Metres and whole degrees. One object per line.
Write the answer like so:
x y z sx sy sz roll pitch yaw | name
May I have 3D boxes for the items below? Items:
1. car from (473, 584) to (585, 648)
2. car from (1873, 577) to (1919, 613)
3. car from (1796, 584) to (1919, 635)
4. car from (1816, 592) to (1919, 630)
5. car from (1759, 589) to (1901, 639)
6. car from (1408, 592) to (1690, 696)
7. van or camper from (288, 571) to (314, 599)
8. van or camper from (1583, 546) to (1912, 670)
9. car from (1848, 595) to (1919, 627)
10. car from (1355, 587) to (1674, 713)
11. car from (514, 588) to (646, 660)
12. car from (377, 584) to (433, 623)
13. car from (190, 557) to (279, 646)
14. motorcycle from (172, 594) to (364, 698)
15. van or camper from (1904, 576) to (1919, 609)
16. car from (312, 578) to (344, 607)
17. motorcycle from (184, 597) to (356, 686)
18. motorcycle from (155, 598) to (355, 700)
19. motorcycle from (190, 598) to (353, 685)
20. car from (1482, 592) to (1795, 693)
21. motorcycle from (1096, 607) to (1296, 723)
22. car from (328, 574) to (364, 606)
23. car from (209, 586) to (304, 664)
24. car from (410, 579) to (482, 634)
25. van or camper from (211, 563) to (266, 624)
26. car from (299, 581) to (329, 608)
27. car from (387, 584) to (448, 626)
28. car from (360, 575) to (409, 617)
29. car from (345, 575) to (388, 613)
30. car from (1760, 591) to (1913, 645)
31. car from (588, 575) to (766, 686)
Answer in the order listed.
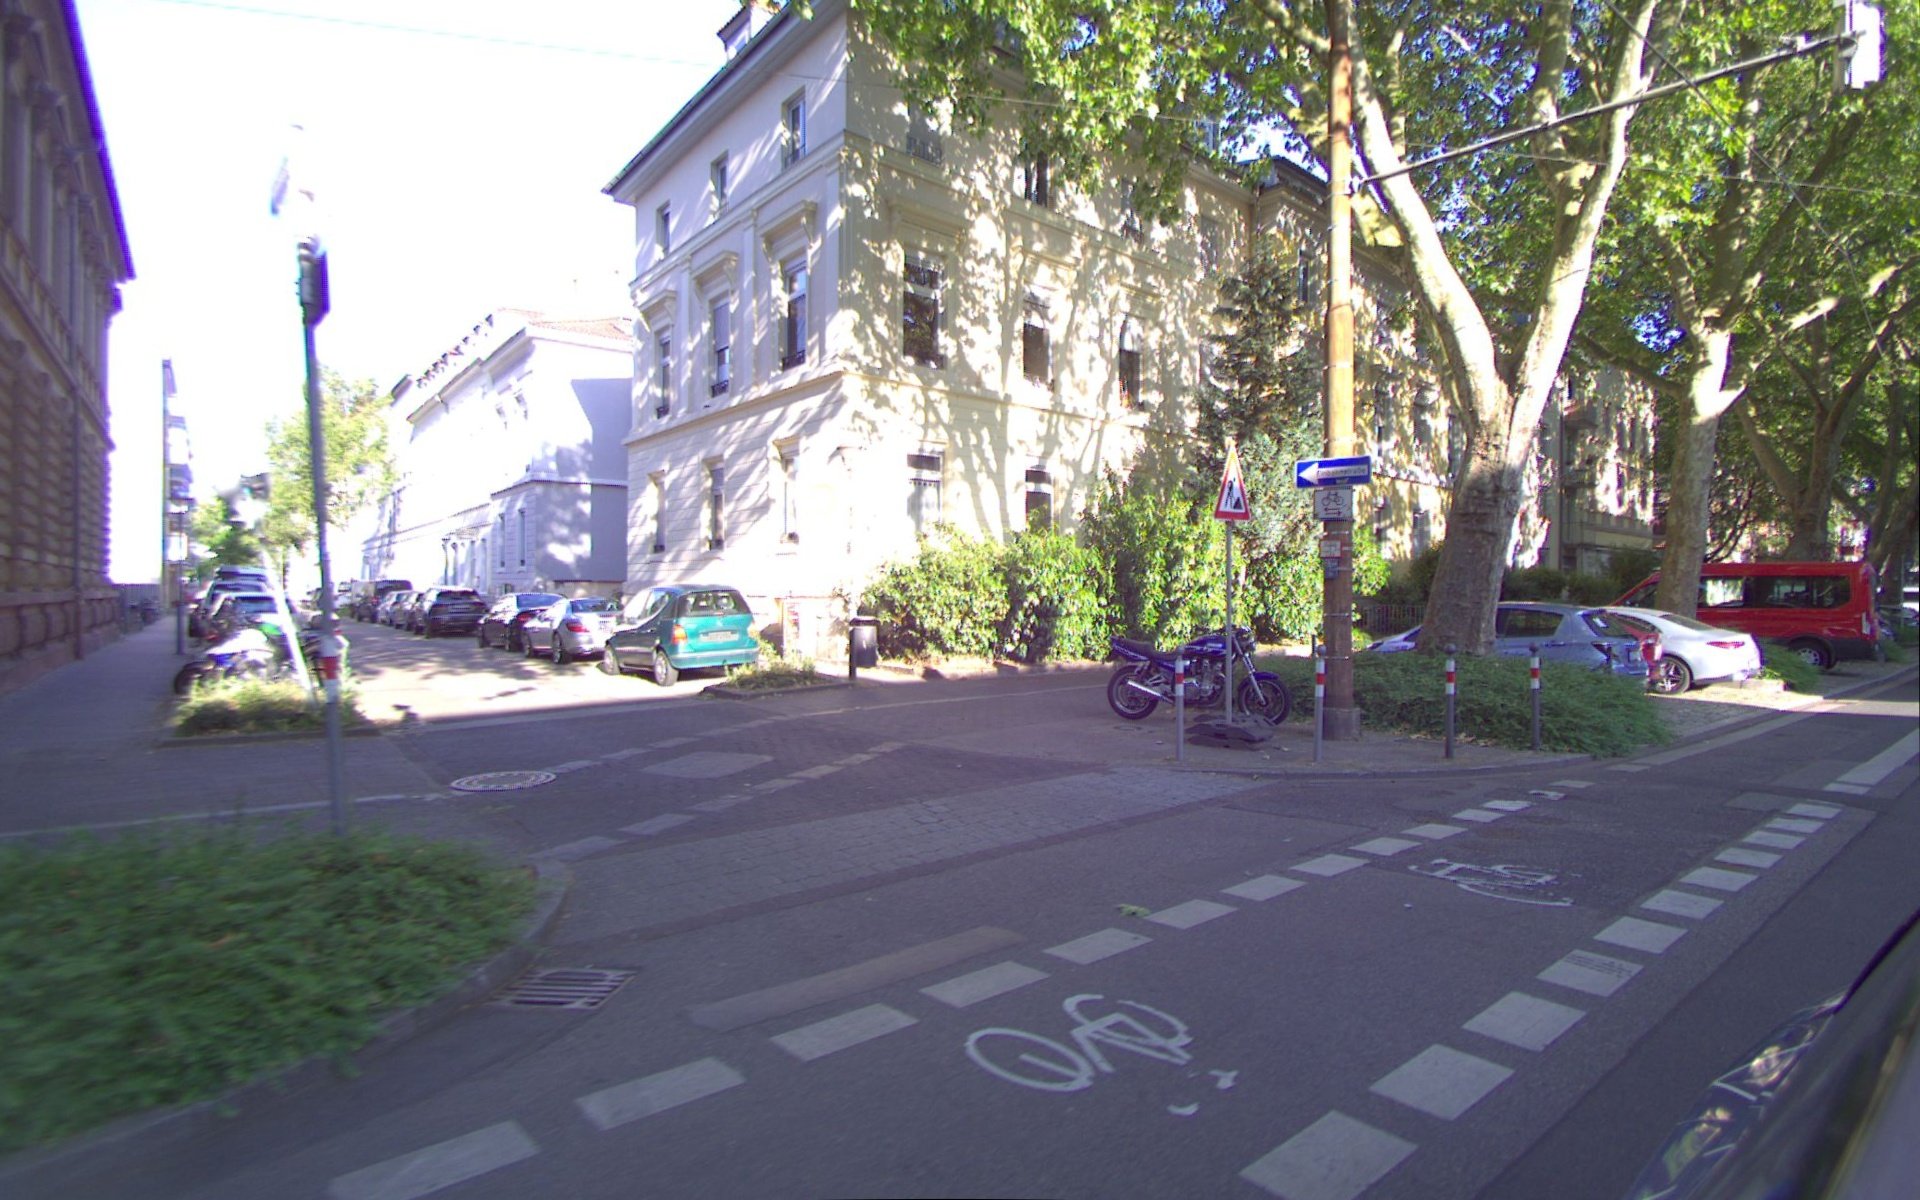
-10.918 0.345 25.487 1.627 1.431 4.084 -3 2 -37 | car
61.935 -0.306 64.037 1.970 2.311 6.004 1 0 -40 | car
35.528 0.359 39.499 1.818 1.740 4.267 0 3 -43 | car
39.310 0.470 43.316 4.027 1.498 1.655 2 2 43 | car
30.388 0.450 35.419 1.514 1.619 3.601 -1 2 -41 | car
9.667 0.628 16.765 3.751 1.404 1.655 3 2 43 | car
-57.094 -1.307 87.596 1.600 2.304 4.789 -2 2 -36 | van or camper
18.428 0.058 23.963 2.249 2.550 5.823 1 2 -43 | van or camper
46.344 0.522 49.467 1.795 1.510 4.112 0 1 -33 | car
7.995 0.618 14.844 1.652 1.527 3.758 0 2 -41 | car
-8.124 0.448 21.483 1.601 1.341 3.665 -3 2 -38 | car
-22.759 0.111 41.432 1.600 1.449 3.709 -2 2 -35 | car
-21.286 0.013 29.695 1.921 2.378 4.372 -2 2 -36 | car
-10.097 0.646 14.870 2.239 1.449 0.570 1 -1 -26 | motorcycle
75.418 -0.533 76.303 2.071 2.522 6.041 0 1 -42 | van or camper
-42.099 -0.506 67.406 1.600 1.846 3.709 -2 2 -35 | car
-10.630 0.621 15.671 2.137 1.313 0.497 0 -1 -22 | motorcycle
-9.492 0.651 13.721 2.137 1.313 0.497 1 -1 -22 | motorcycle
-11.270 0.650 16.636 2.137 1.313 0.497 -2 0 -22 | motorcycle
11.902 0.654 18.014 1.728 1.434 4.296 0 2 -40 | car
2.659 0.713 11.484 2.145 1.243 0.471 -1 -1 22 | motorcycle
-36.929 -0.595 60.831 1.600 1.846 3.709 -2 2 -35 | car
-15.869 0.494 22.835 1.600 1.570 3.482 -2 2 -35 | car
-16.921 0.179 33.238 1.600 1.670 3.709 -2 2 -35 | car
-32.033 -0.306 44.893 1.846 2.550 4.431 -2 2 -36 | van or camper
-47.416 -0.414 74.255 1.600 1.846 3.708 -2 2 -36 | car
-20.457 0.163 38.099 1.600 1.449 3.709 -2 2 -35 | car
-26.634 -0.195 46.798 1.600 1.846 3.709 -2 2 -35 | car
-30.995 -0.332 52.796 1.600 1.846 3.709 -2 2 -35 | car
28.759 0.546 33.283 1.664 1.536 3.602 0 2 -41 | car
-4.897 0.416 17.274 1.602 1.608 3.479 -5 4 -39 | car
